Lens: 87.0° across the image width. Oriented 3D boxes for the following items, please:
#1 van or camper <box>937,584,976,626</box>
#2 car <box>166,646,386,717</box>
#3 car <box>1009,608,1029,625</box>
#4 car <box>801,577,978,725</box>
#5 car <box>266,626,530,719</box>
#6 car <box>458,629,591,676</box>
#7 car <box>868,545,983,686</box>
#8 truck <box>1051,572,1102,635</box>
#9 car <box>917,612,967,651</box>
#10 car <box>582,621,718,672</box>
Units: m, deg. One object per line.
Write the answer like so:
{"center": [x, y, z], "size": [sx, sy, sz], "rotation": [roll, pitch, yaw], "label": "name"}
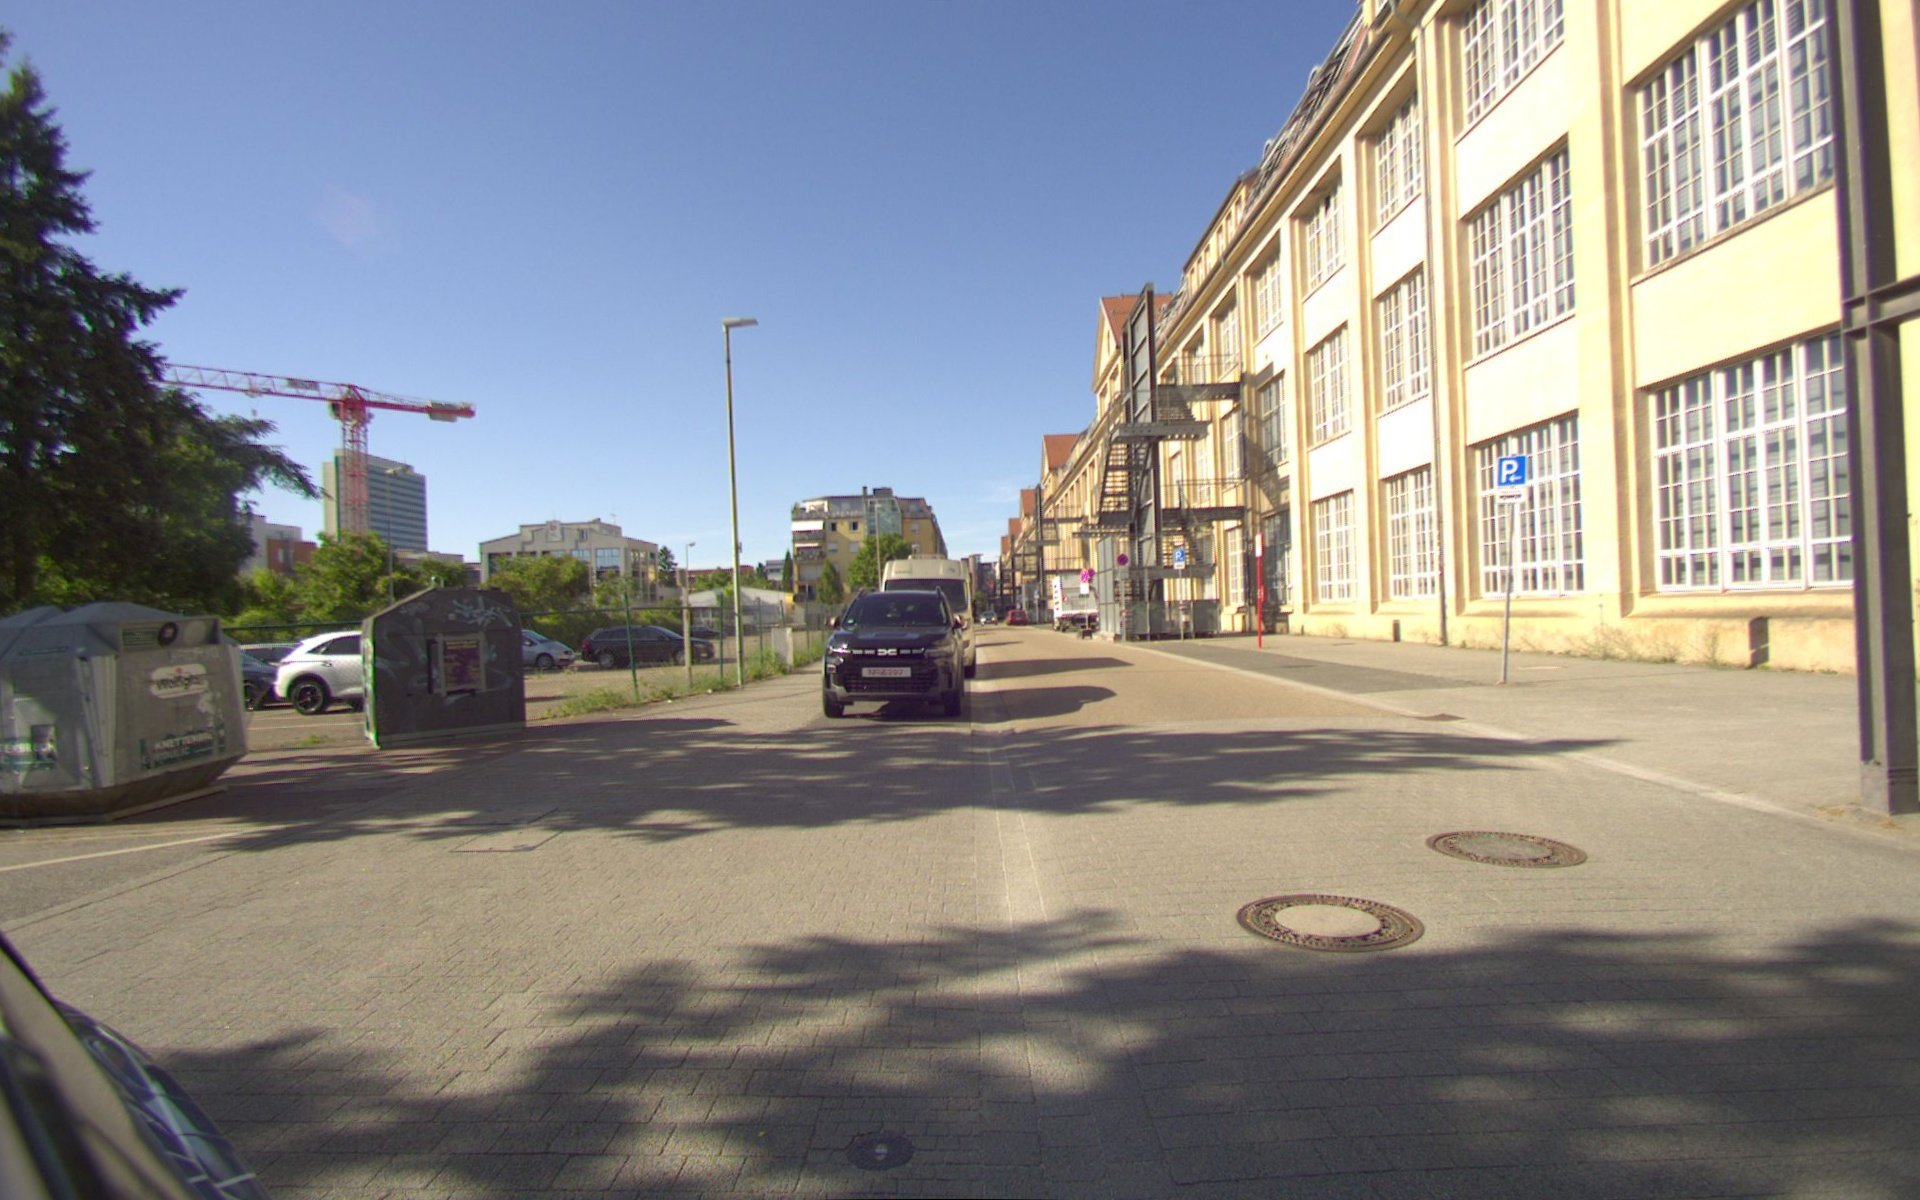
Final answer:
{"center": [-0.284, 0.347, 73.960], "size": [2.686, 2.878, 5.134], "rotation": [-2, -1, 0], "label": "van or camper"}
{"center": [-17.286, 2.046, 25.701], "size": [4.318, 1.506, 1.970], "rotation": [-3, -1, 4], "label": "car"}
{"center": [5.480, 1.570, 94.754], "size": [1.738, 1.460, 3.996], "rotation": [-3, -1, 3], "label": "car"}
{"center": [-0.810, 0.645, 14.112], "size": [1.973, 1.708, 4.100], "rotation": [-2, -1, 2], "label": "car"}
{"center": [-11.508, 1.454, 20.909], "size": [4.369, 1.622, 1.998], "rotation": [-3, -1, 4], "label": "car"}
{"center": [-16.482, 1.973, 38.431], "size": [4.184, 1.572, 1.897], "rotation": [-3, -1, 1], "label": "car"}
{"center": [-0.596, 0.339, 22.425], "size": [2.135, 2.616, 6.280], "rotation": [-2, -1, 1], "label": "car"}
{"center": [6.880, 0.227, 60.671], "size": [2.468, 3.457, 7.121], "rotation": [-2, 0, 3], "label": "truck"}
{"center": [-0.665, 1.245, 40.883], "size": [1.826, 1.436, 4.223], "rotation": [-2, -1, 1], "label": "car"}
{"center": [-10.919, 1.634, 35.853], "size": [4.188, 1.572, 1.895], "rotation": [-3, -1, 4], "label": "car"}
